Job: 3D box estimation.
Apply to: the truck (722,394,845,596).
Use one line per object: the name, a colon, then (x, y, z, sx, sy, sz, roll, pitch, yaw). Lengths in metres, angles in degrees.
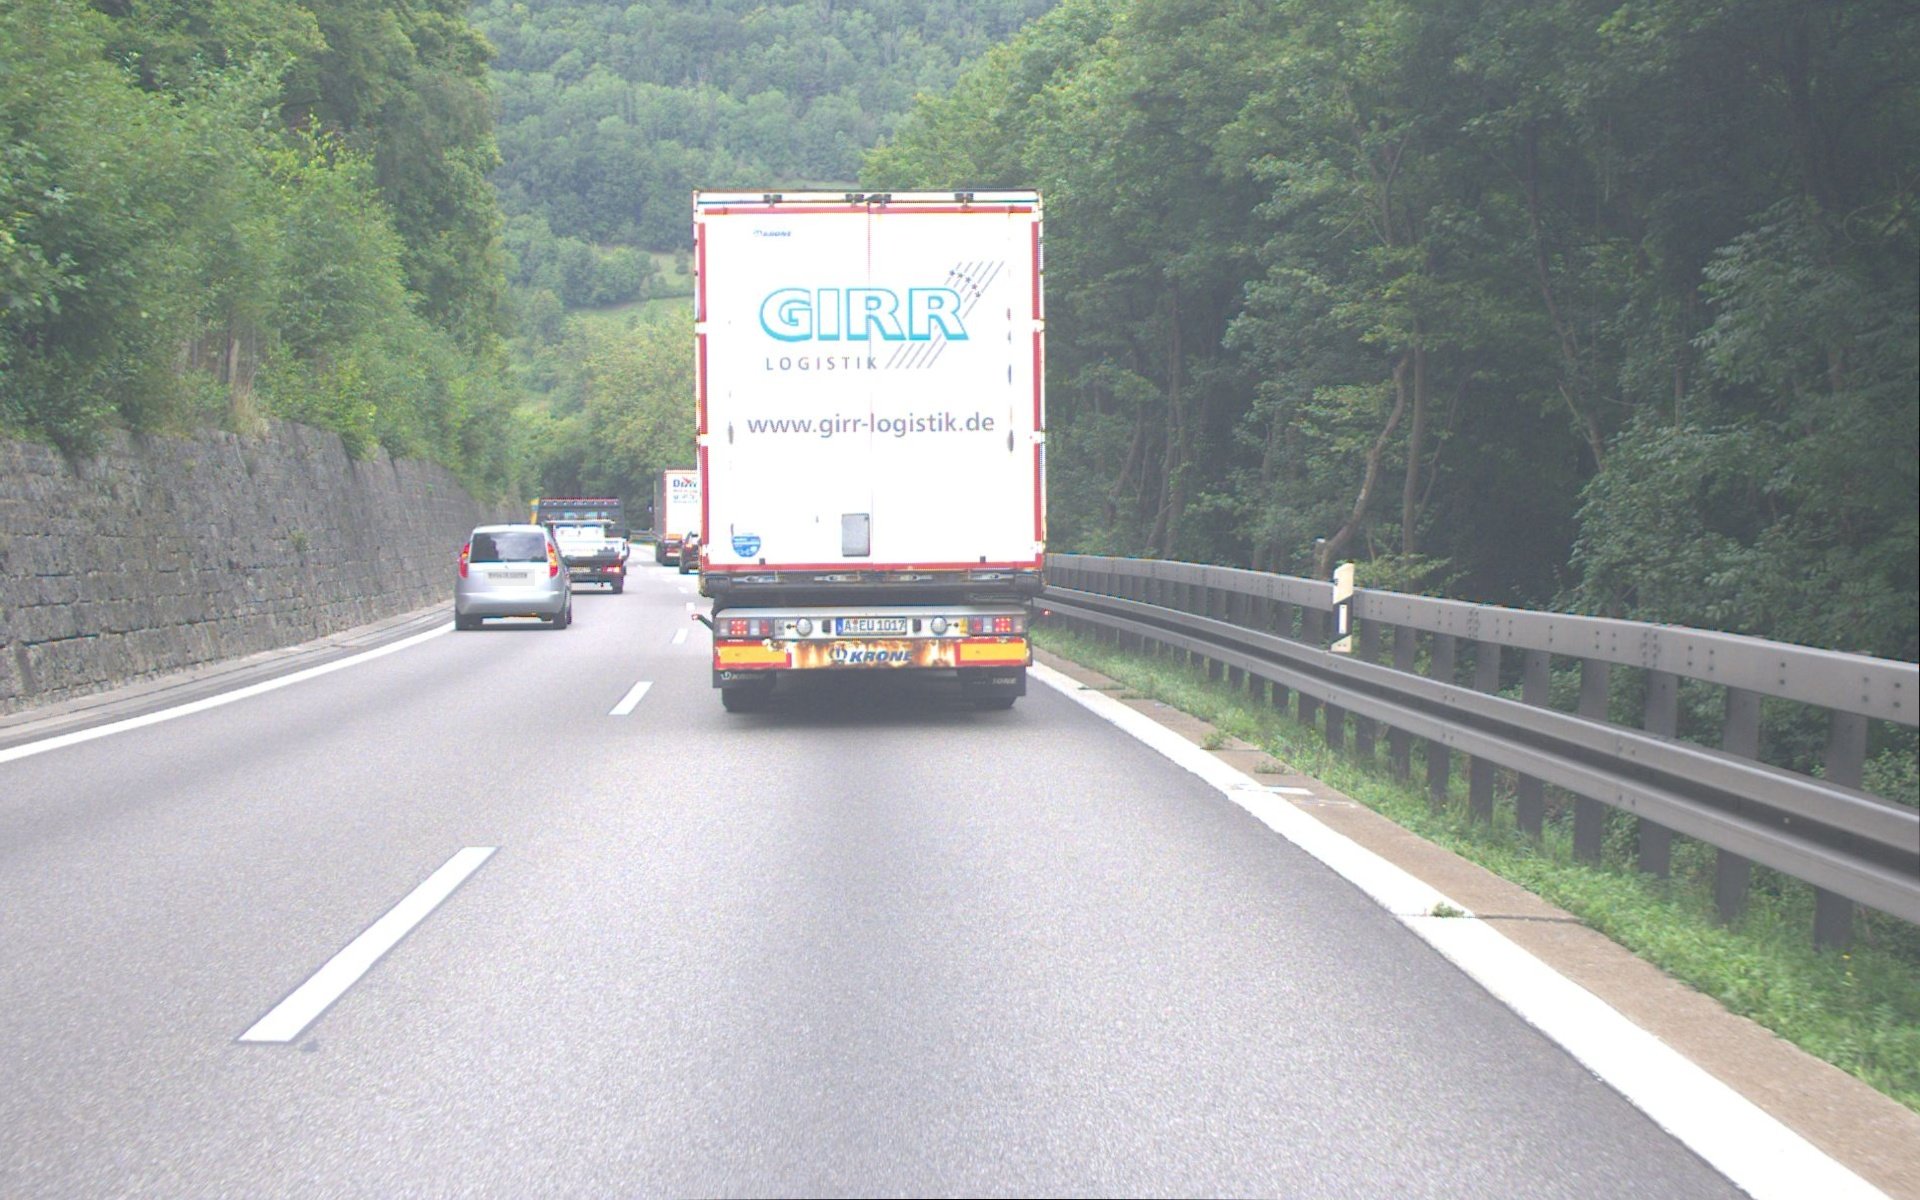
truck: (-3.557, -2.049, 69.020, 2.233, 3.791, 6.824, 2, 1, -3)

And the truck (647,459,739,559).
truck: (-10.991, -3.680, 140.812, 3.068, 3.864, 8.461, 2, 1, -8)

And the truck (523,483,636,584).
truck: (-9.068, -1.598, 82.450, 2.349, 2.266, 6.850, 2, 1, -4)

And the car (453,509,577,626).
car: (-6.911, -0.525, 53.679, 1.634, 1.720, 4.345, 1, 1, -4)

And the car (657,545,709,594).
car: (-12.076, -1.345, 149.575, 1.993, 2.007, 4.001, 2, 1, -8)

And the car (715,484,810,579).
car: (-4.471, -1.521, 77.386, 1.993, 2.007, 4.334, 2, 1, -4)

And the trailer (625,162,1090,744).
trailer: (-0.953, -1.171, 29.522, 3.132, 4.029, 9.441, 3, 1, -3)

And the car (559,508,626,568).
car: (-12.225, -2.088, 114.727, 2.018, 1.907, 5.564, 2, 1, -5)

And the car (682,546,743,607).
car: (-8.438, -0.815, 117.031, 1.993, 2.007, 4.001, 2, 1, -5)
